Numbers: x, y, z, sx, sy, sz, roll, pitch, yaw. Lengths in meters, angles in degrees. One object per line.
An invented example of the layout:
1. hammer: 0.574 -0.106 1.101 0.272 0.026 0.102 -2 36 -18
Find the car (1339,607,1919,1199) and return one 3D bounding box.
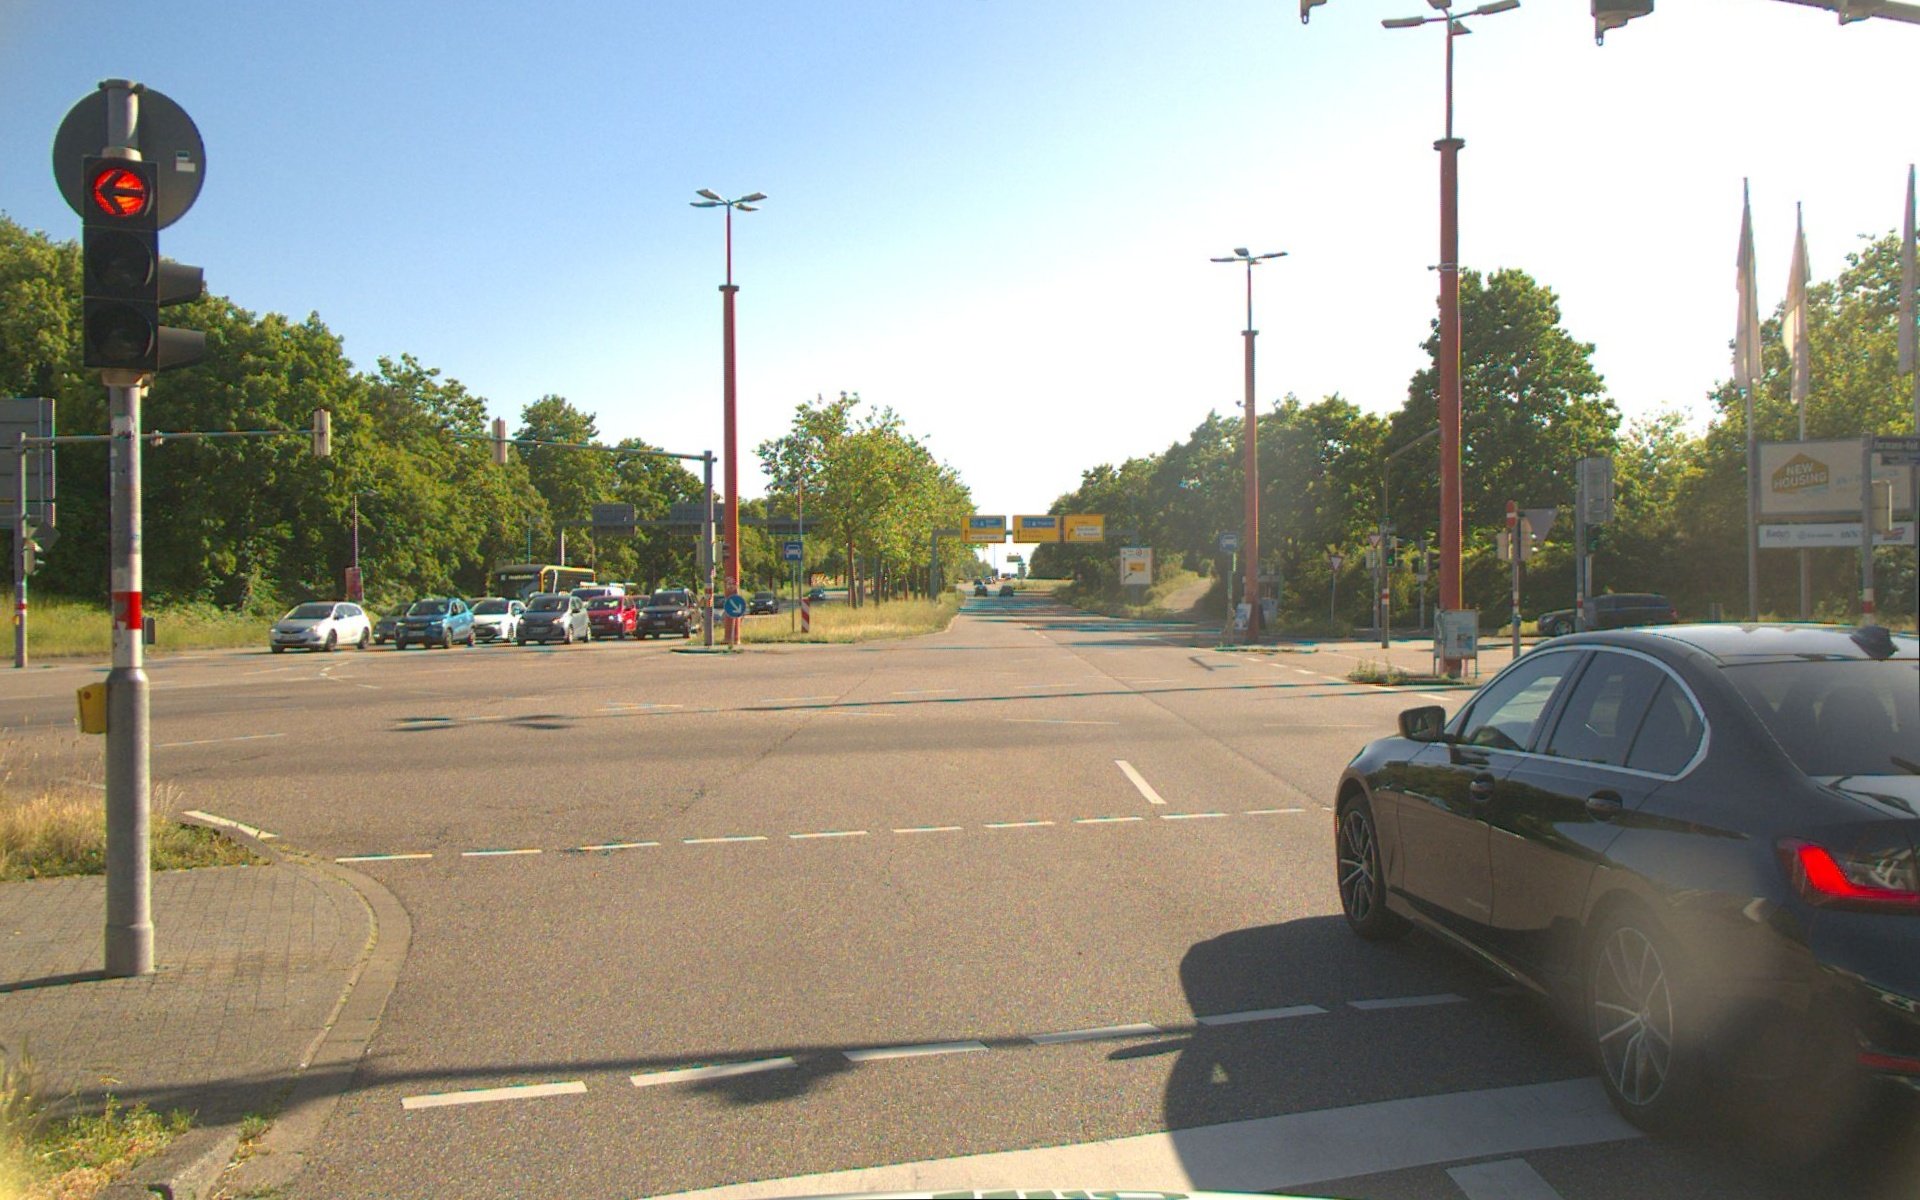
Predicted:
1. car: 2.798 0.774 5.927 1.728 1.466 4.293 1 0 -2

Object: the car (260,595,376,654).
1. car: -19.539 0.738 50.546 1.838 1.681 4.219 -1 0 0

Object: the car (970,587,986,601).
1. car: 2.317 -0.813 217.477 1.953 1.764 3.999 1 0 -1

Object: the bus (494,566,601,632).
1. bus: -22.413 -0.042 90.615 2.591 3.318 12.535 1 0 0

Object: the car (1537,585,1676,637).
1. car: 21.770 0.372 55.826 4.193 1.664 1.771 1 0 16

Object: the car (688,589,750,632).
1. car: -9.352 0.397 64.365 1.847 1.570 3.999 -2 0 -1

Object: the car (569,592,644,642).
1. car: -12.443 0.584 58.435 1.838 1.579 3.998 -3 0 -2

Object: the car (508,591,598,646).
1. car: -12.766 0.552 52.093 1.836 1.577 4.027 -2 1 -1

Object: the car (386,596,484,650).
1. car: -16.101 0.683 50.881 1.764 1.542 3.858 -2 0 0

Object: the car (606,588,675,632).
1. car: -12.402 0.368 64.436 1.862 1.658 4.000 0 0 1

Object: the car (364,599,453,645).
1. car: -19.885 0.776 59.799 1.846 1.539 4.000 -1 0 0

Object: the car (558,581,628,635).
1. car: -15.617 0.332 70.592 1.922 2.193 5.080 -1 0 -1

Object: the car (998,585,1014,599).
1. car: 6.193 -1.058 221.217 1.953 1.764 3.999 1 0 -1

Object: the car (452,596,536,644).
1. car: -16.029 0.664 57.033 1.863 1.582 3.998 -1 0 -2

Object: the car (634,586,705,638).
1. car: -9.835 0.386 56.215 1.757 1.654 4.142 -2 0 -2

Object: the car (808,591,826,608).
1. car: -17.391 -0.081 201.083 1.881 2.034 4.602 0 0 -1

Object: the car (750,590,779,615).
1. car: -15.036 0.214 127.085 1.800 1.869 3.960 0 0 -1
